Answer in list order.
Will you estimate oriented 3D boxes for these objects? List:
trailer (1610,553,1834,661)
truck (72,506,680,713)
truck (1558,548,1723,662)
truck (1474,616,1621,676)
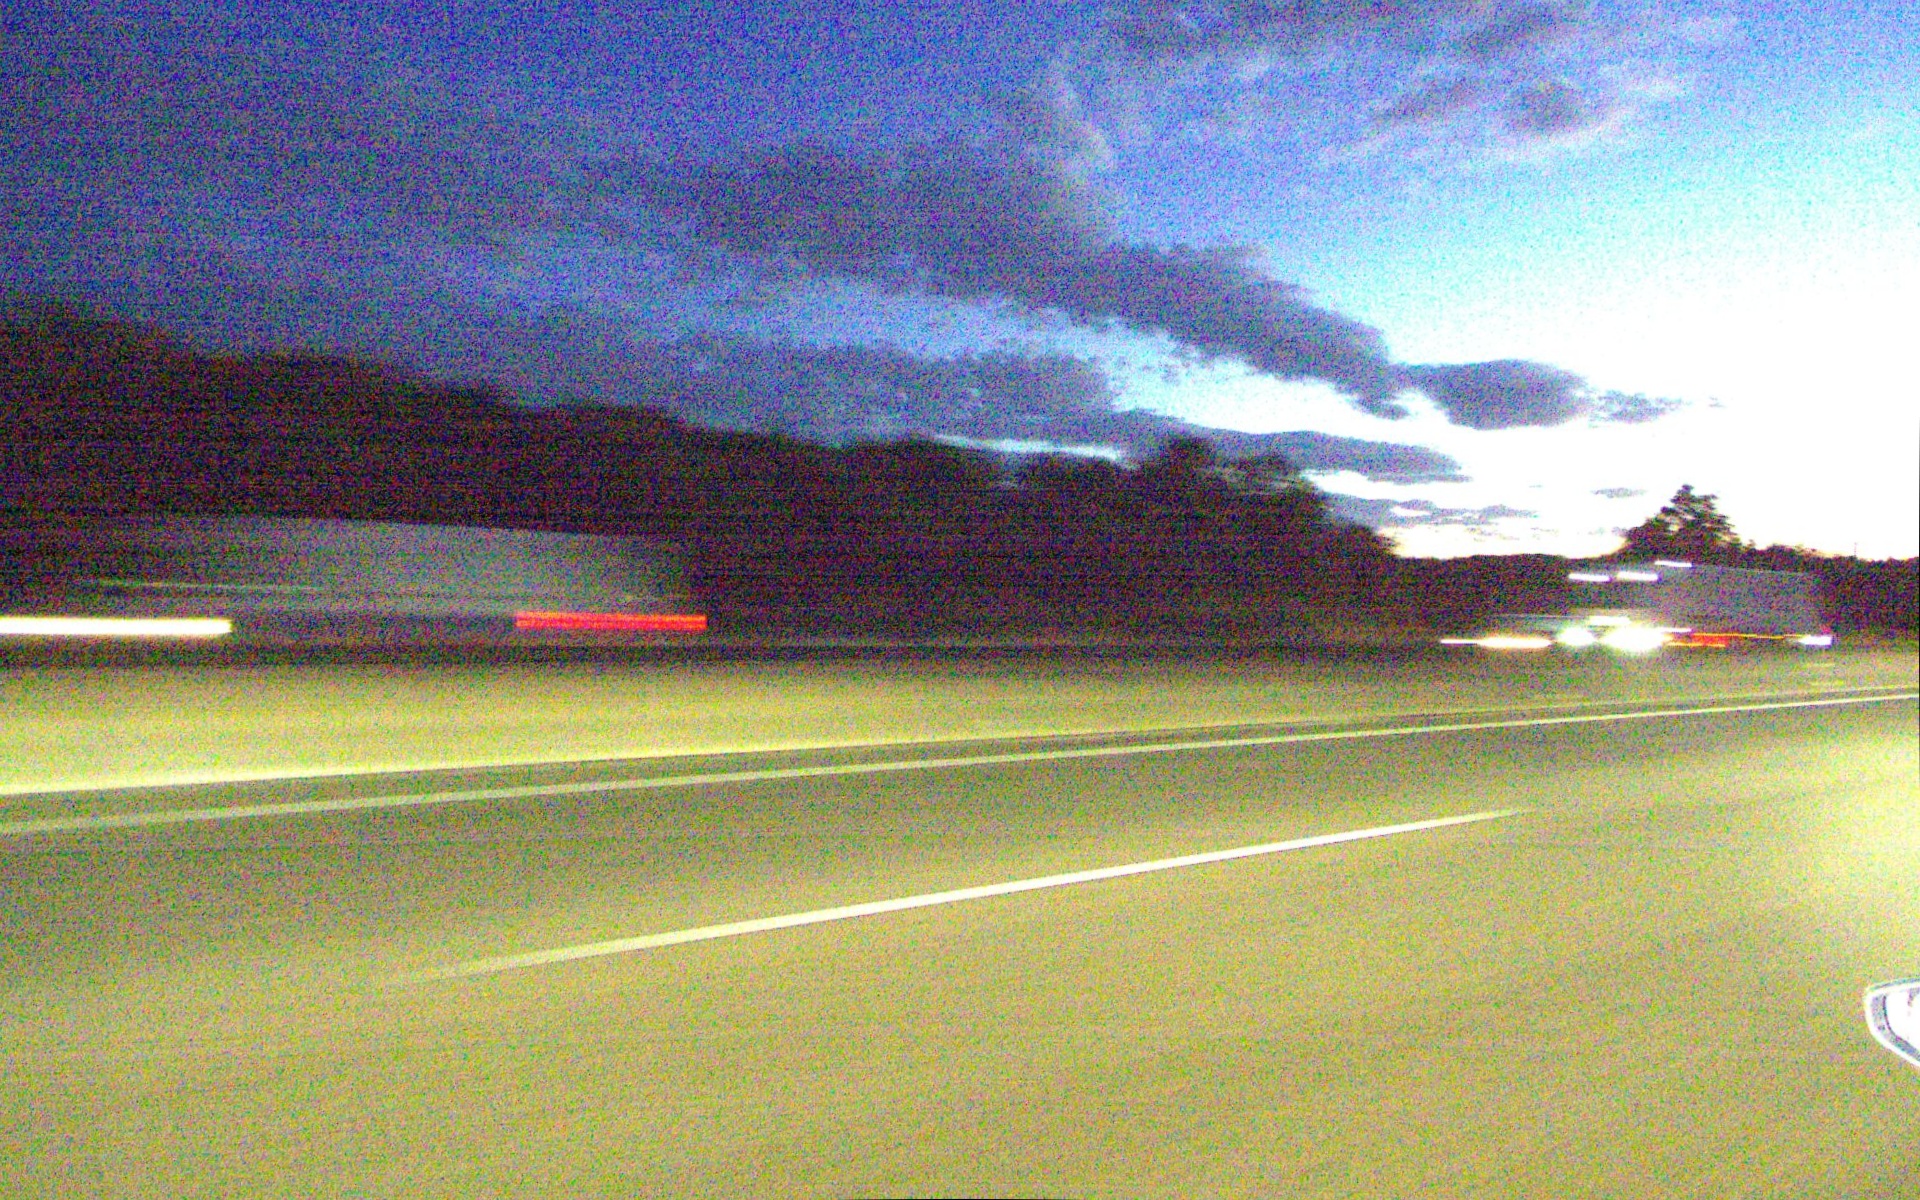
[{"bbox_3d":[35.579,0.461,46.591,13.860,4.492,3.309,1,-1,-30],"label":"trailer"},{"bbox_3d":[-8.812,0.198,16.223,7.794,2.677,2.858,1,0,-31],"label":"truck"},{"bbox_3d":[28.941,0.290,42.670,6.629,4.492,3.310,1,-1,-30],"label":"truck"},{"bbox_3d":[18.871,1.446,32.209,4.707,1.780,2.025,1,0,-30],"label":"truck"}]
